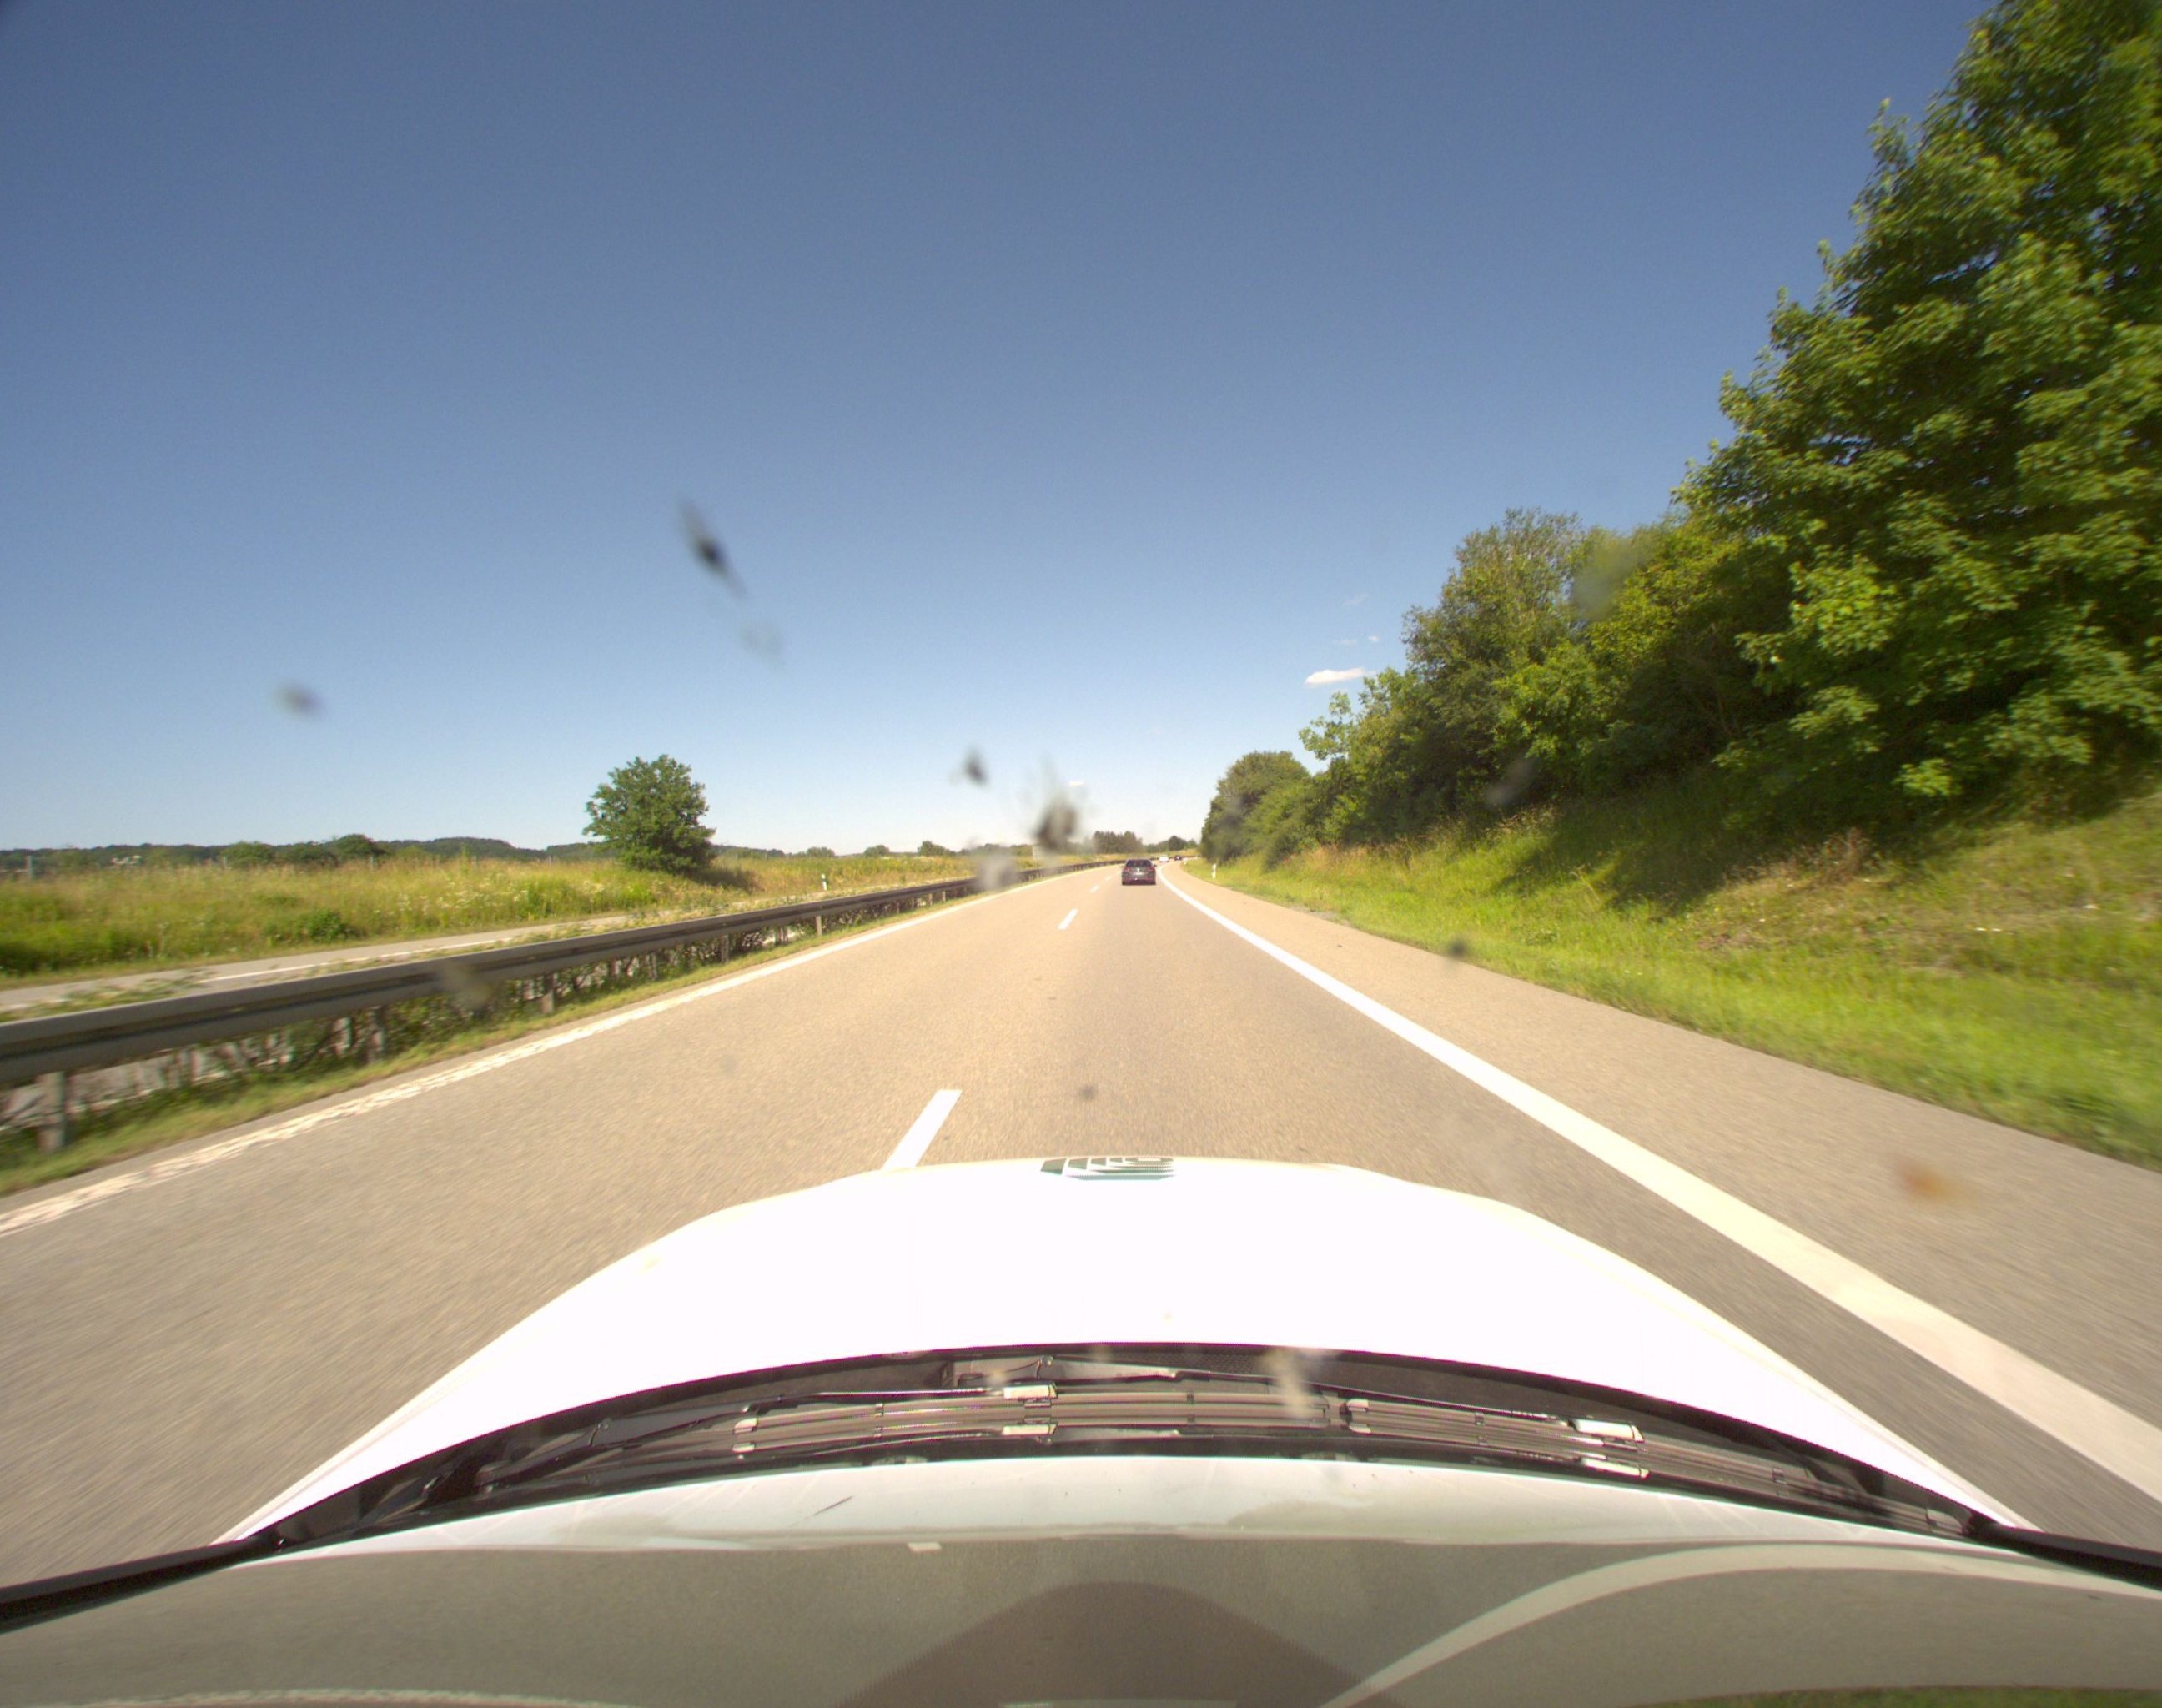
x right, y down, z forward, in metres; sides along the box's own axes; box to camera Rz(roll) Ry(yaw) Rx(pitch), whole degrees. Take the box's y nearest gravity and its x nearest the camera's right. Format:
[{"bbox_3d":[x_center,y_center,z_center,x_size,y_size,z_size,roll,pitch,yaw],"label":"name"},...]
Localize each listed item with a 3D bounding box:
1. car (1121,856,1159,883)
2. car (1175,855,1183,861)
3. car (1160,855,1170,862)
[{"bbox_3d":[3.082,0.808,43.228,1.784,1.344,4.001,-1,0,1],"label":"car"},{"bbox_3d":[24.042,0.976,199.931,1.700,1.387,3.365,0,-1,11],"label":"car"},{"bbox_3d":[17.009,0.843,164.963,1.997,1.344,4.006,0,-1,6],"label":"car"}]
